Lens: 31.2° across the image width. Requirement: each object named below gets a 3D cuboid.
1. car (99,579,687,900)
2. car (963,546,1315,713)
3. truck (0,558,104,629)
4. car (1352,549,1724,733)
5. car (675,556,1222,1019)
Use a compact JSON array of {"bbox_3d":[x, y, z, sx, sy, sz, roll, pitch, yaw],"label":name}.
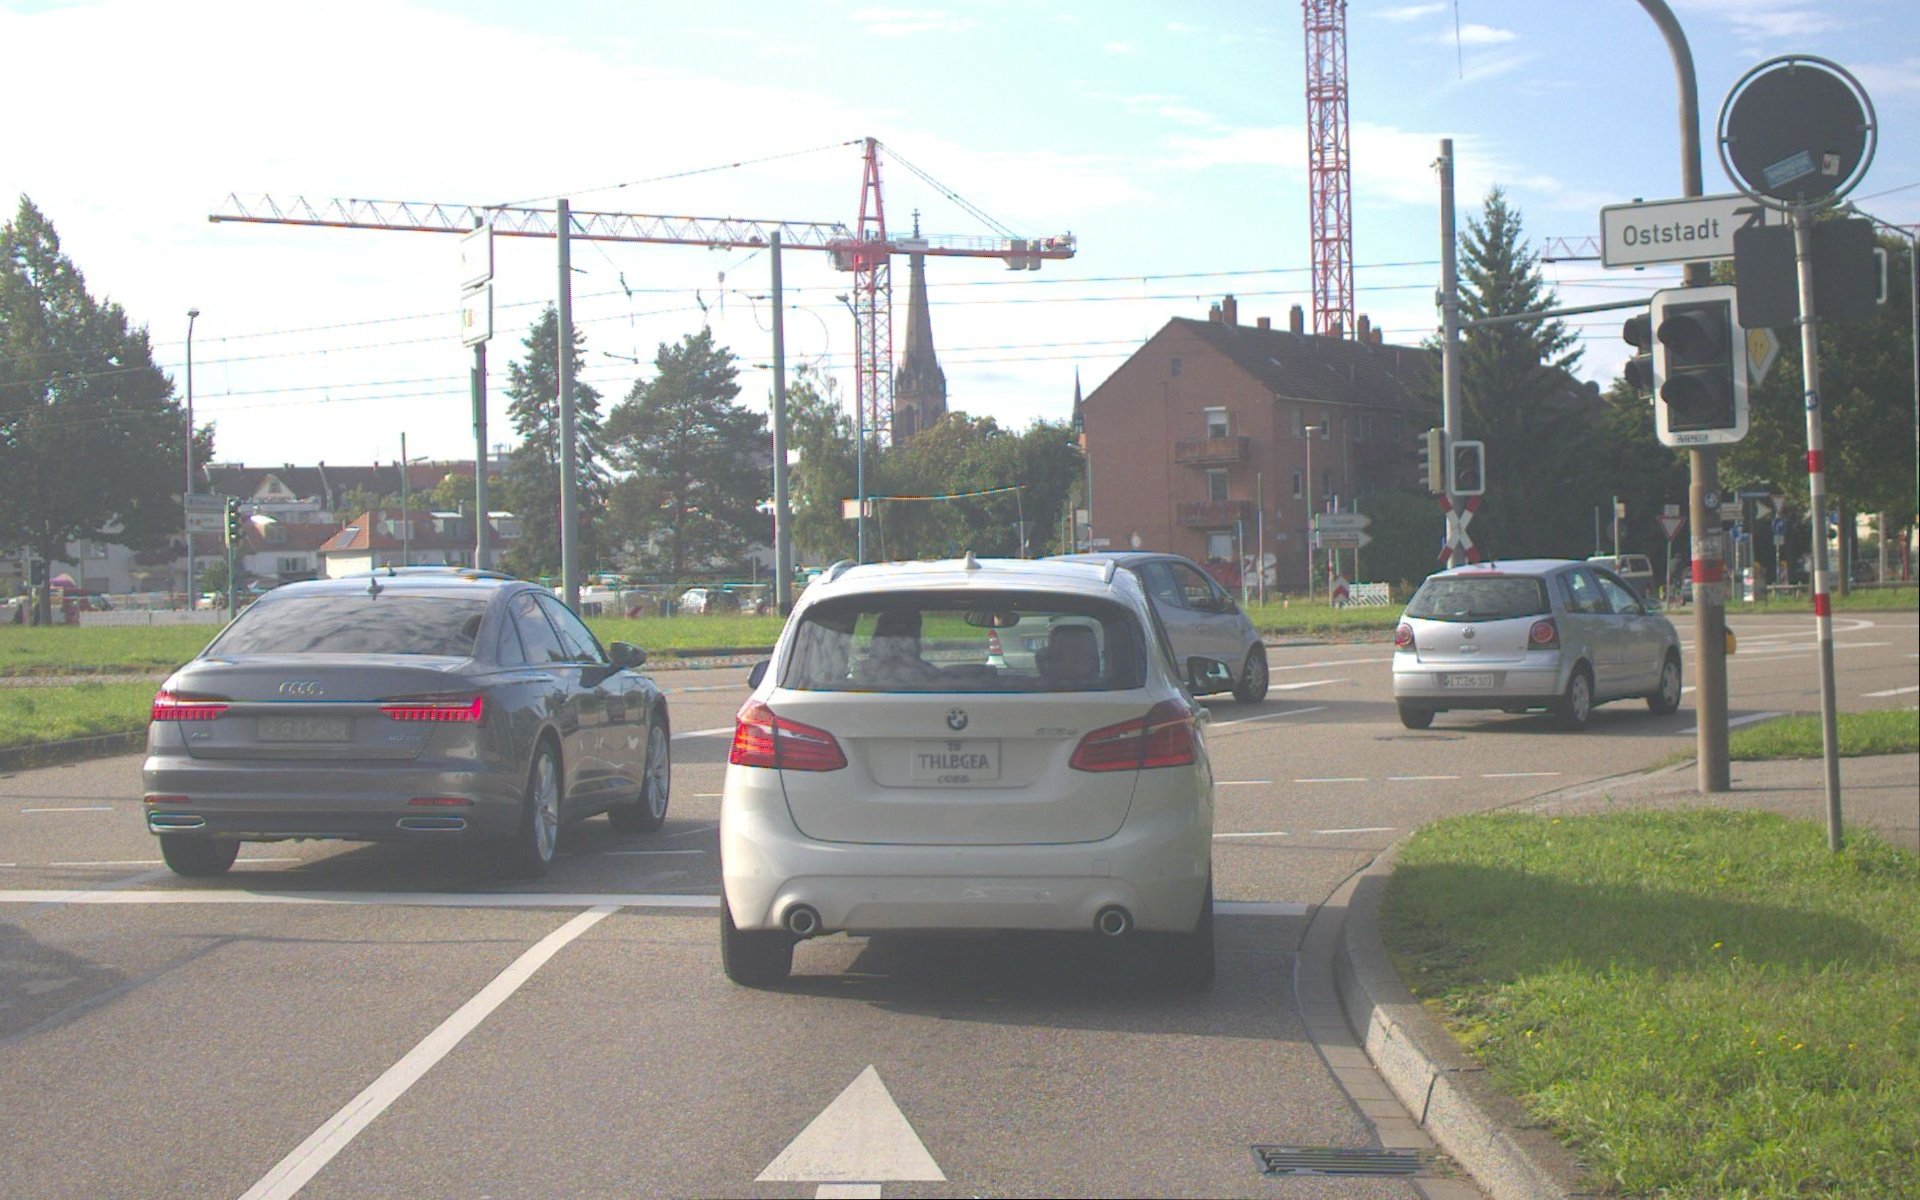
[{"bbox_3d":[-2.762,0.615,17.911,1.851,1.440,4.714,0,0,6],"label":"car"},{"bbox_3d":[1.856,0.242,34.109,1.853,1.473,4.449,0,2,26],"label":"car"},{"bbox_3d":[-43.210,-0.285,160.333,7.310,3.196,2.809,-1,0,43],"label":"truck"},{"bbox_3d":[5.266,0.310,30.852,1.853,1.421,4.448,0,2,30],"label":"car"},{"bbox_3d":[-0.060,0.620,13.875,1.850,1.567,4.455,0,0,0],"label":"car"}]
